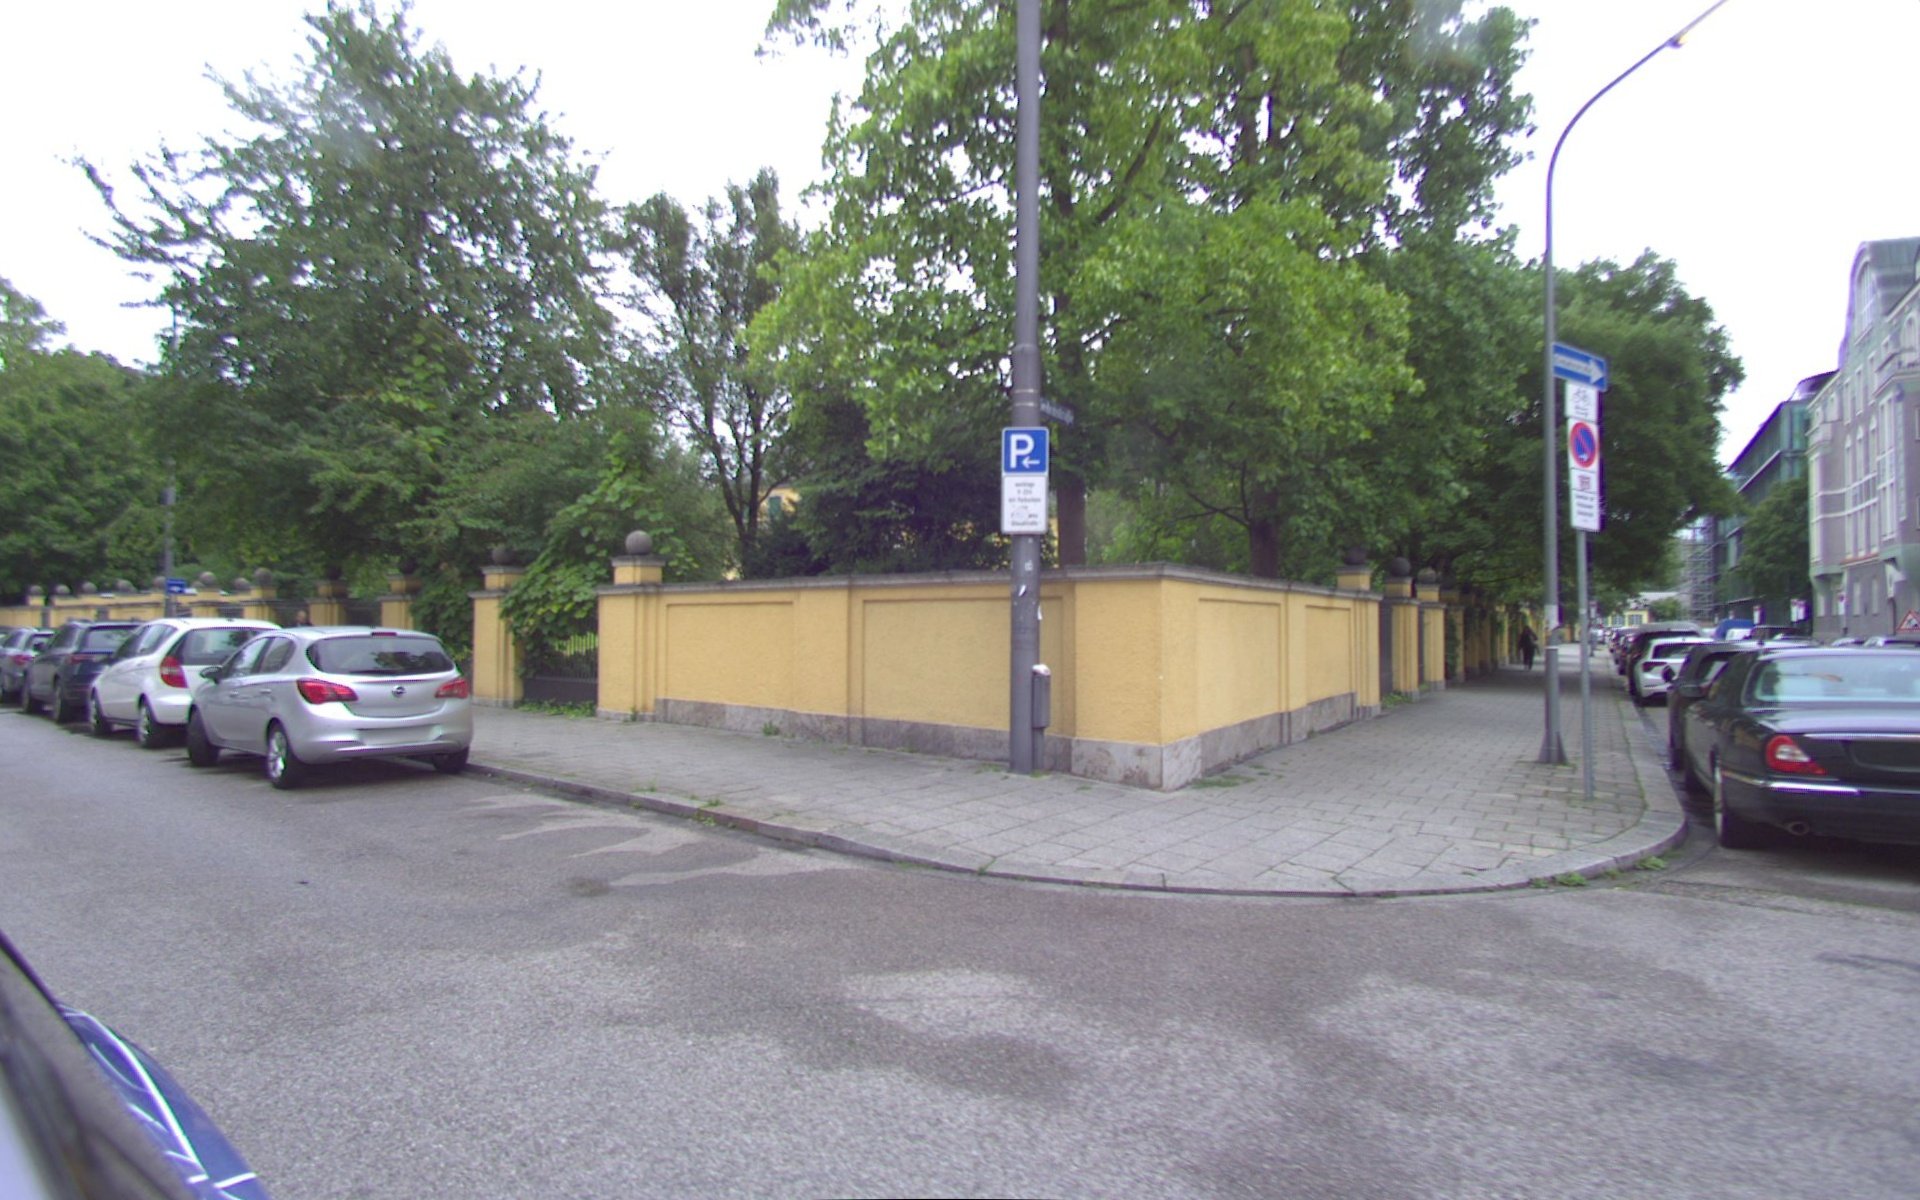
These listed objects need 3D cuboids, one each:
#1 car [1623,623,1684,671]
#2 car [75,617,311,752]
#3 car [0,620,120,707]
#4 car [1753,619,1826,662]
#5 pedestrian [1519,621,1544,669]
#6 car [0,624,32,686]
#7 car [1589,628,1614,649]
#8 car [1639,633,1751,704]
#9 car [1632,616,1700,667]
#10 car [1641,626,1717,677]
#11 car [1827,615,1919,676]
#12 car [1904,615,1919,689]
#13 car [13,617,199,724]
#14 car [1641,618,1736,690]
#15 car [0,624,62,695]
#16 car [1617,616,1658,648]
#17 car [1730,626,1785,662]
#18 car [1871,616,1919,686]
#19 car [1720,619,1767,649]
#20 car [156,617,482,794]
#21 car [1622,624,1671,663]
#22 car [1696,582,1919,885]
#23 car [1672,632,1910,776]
[{"bbox_3d":[26.683,1.756,38.933,1.828,1.696,4.190,0,-1,35],"label":"car"},{"bbox_3d":[-10.473,1.030,13.731,3.926,1.573,1.683,-1,-2,39],"label":"car"},{"bbox_3d":[-18.416,1.224,20.313,3.926,1.573,1.633,-1,-3,39],"label":"car"},{"bbox_3d":[38.163,1.870,46.663,2.049,1.872,4.470,-2,-2,33],"label":"car"},{"bbox_3d":[20.817,1.630,36.866,0.781,1.703,0.710,0,-2,32],"label":"pedestrian"},{"bbox_3d":[-25.885,1.412,26.581,3.926,1.573,1.633,-1,-3,39],"label":"car"},{"bbox_3d":[54.922,3.287,86.727,1.751,1.697,3.956,-1,-2,32],"label":"car"},{"bbox_3d":[16.107,1.422,22.292,1.828,1.395,4.190,-1,-2,35],"label":"car"},{"bbox_3d":[24.547,1.410,35.299,1.820,1.681,3.954,-1,-2,33],"label":"car"},{"bbox_3d":[22.016,1.516,31.115,1.787,1.453,3.953,-1,-2,34],"label":"car"},{"bbox_3d":[32.282,1.565,35.846,1.878,2.029,3.953,-1,-2,34],"label":"car"},{"bbox_3d":[24.845,1.315,24.585,2.049,1.871,4.469,1,-1,34],"label":"car"},{"bbox_3d":[-14.257,1.112,16.831,3.926,1.573,1.633,-1,-3,39],"label":"car"},{"bbox_3d":[18.717,1.330,26.091,1.828,1.697,4.190,-1,-2,35],"label":"car"},{"bbox_3d":[-22.673,1.362,23.834,3.926,1.573,1.633,-1,-3,39],"label":"car"},{"bbox_3d":[37.873,1.743,56.504,1.828,1.696,4.190,0,-1,35],"label":"car"},{"bbox_3d":[47.027,2.543,59.752,1.993,2.029,3.957,-1,-2,31],"label":"car"},{"bbox_3d":[27.603,1.434,28.649,2.049,1.871,4.469,1,-1,34],"label":"car"},{"bbox_3d":[51.852,2.218,67.033,1.993,1.929,3.958,-1,-2,31],"label":"car"},{"bbox_3d":[-6.766,0.969,10.544,3.952,1.504,1.683,-1,-3,39],"label":"car"},{"bbox_3d":[32.431,2.013,47.813,1.828,1.696,4.190,0,-1,35],"label":"car"},{"bbox_3d":[7.000,0.830,7.765,1.900,1.757,4.685,-1,-2,33],"label":"car"},{"bbox_3d":[9.736,1.085,12.181,1.849,1.395,4.190,-1,-2,35],"label":"car"}]
